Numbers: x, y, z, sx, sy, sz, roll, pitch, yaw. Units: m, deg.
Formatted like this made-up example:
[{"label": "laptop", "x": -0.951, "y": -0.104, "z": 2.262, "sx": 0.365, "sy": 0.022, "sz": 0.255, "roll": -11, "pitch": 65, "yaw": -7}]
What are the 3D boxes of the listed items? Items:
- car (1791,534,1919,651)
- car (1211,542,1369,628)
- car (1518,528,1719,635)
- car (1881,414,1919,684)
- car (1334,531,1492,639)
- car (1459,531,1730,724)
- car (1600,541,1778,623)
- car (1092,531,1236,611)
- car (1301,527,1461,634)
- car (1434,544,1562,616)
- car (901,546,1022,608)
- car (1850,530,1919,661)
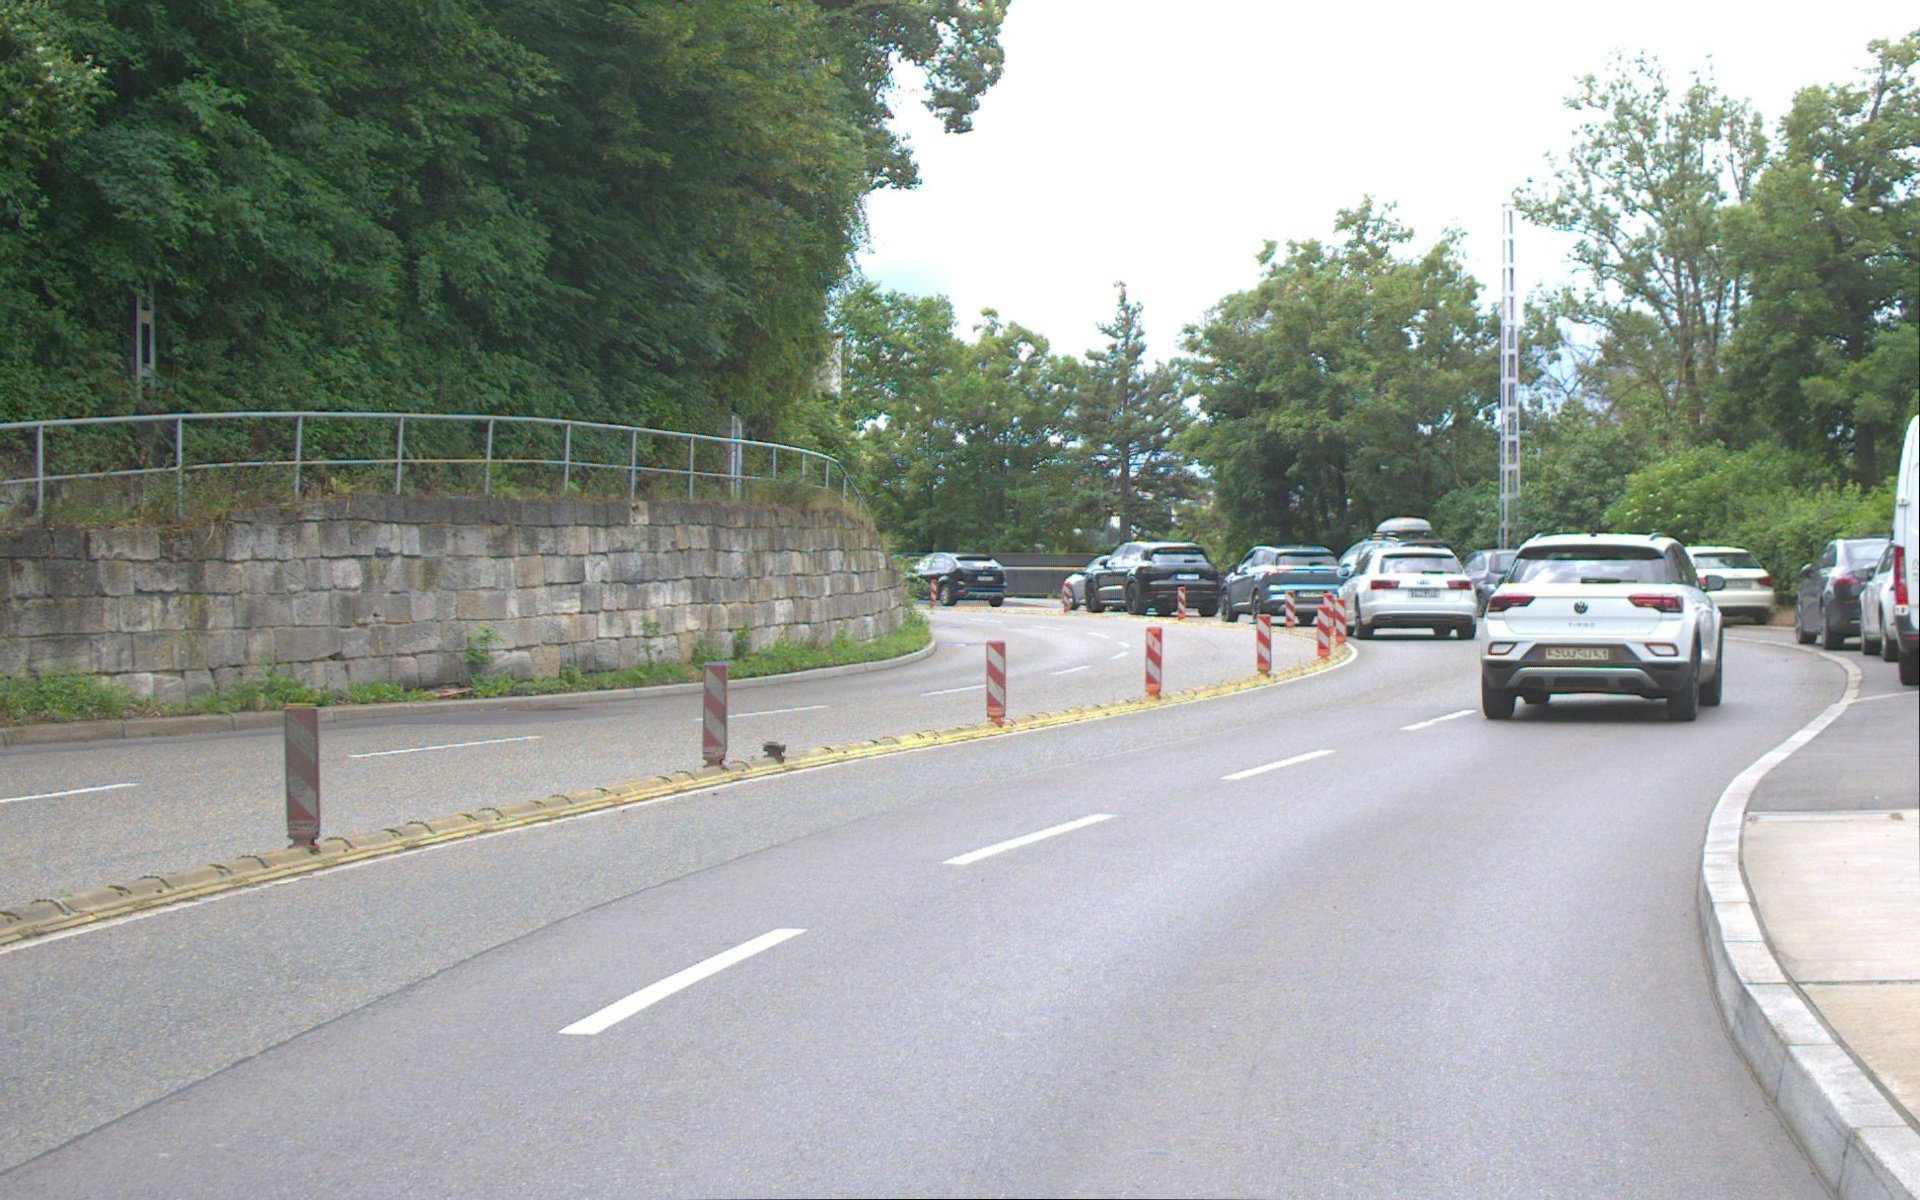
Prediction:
[{"label": "car", "x": 12.079, "y": -0.122, "z": 45.262, "sx": 1.701, "sy": 1.459, "sz": 4.662, "roll": 0, "pitch": 1, "yaw": 7}, {"label": "car", "x": 6.399, "y": -0.290, "z": 67.176, "sx": 1.993, "sy": 1.535, "sz": 4.011, "roll": 3, "pitch": 0, "yaw": -10}, {"label": "car", "x": 10.595, "y": -0.302, "z": 55.617, "sx": 1.993, "sy": 1.581, "sz": 4.001, "roll": 3, "pitch": 0, "yaw": -7}, {"label": "car", "x": 10.541, "y": -0.533, "z": 34.640, "sx": 2.086, "sy": 2.515, "sz": 5.839, "roll": -2, "pitch": 0, "yaw": 18}, {"label": "car", "x": 7.187, "y": -0.231, "z": 54.921, "sx": 1.906, "sy": 1.568, "sz": 4.000, "roll": 3, "pitch": 0, "yaw": 0}, {"label": "car", "x": 5.549, "y": 0.204, "z": 29.748, "sx": 1.868, "sy": 1.531, "sz": 3.800, "roll": 1, "pitch": 1, "yaw": 17}, {"label": "car", "x": 13.176, "y": -0.331, "z": 62.326, "sx": 1.776, "sy": 1.413, "sz": 4.001, "roll": -1, "pitch": 1, "yaw": -10}, {"label": "car", "x": 4.564, "y": -0.665, "z": 77.423, "sx": 1.815, "sy": 1.684, "sz": 4.001, "roll": 3, "pitch": 0, "yaw": -19}, {"label": "car", "x": 7.403, "y": -0.341, "z": 60.794, "sx": 1.993, "sy": 1.733, "sz": 4.001, "roll": 3, "pitch": 0, "yaw": -4}, {"label": "car", "x": 11.415, "y": -0.420, "z": 73.174, "sx": 1.640, "sy": 1.459, "sz": 4.001, "roll": 1, "pitch": 0, "yaw": -7}, {"label": "car", "x": 0.023, "y": -0.656, "z": 95.462, "sx": 1.888, "sy": 1.606, "sz": 4.001, "roll": 3, "pitch": 0, "yaw": -23}, {"label": "car", "x": 11.458, "y": -0.073, "z": 40.286, "sx": 1.701, "sy": 1.459, "sz": 3.833, "roll": -1, "pitch": 0, "yaw": 10}]
